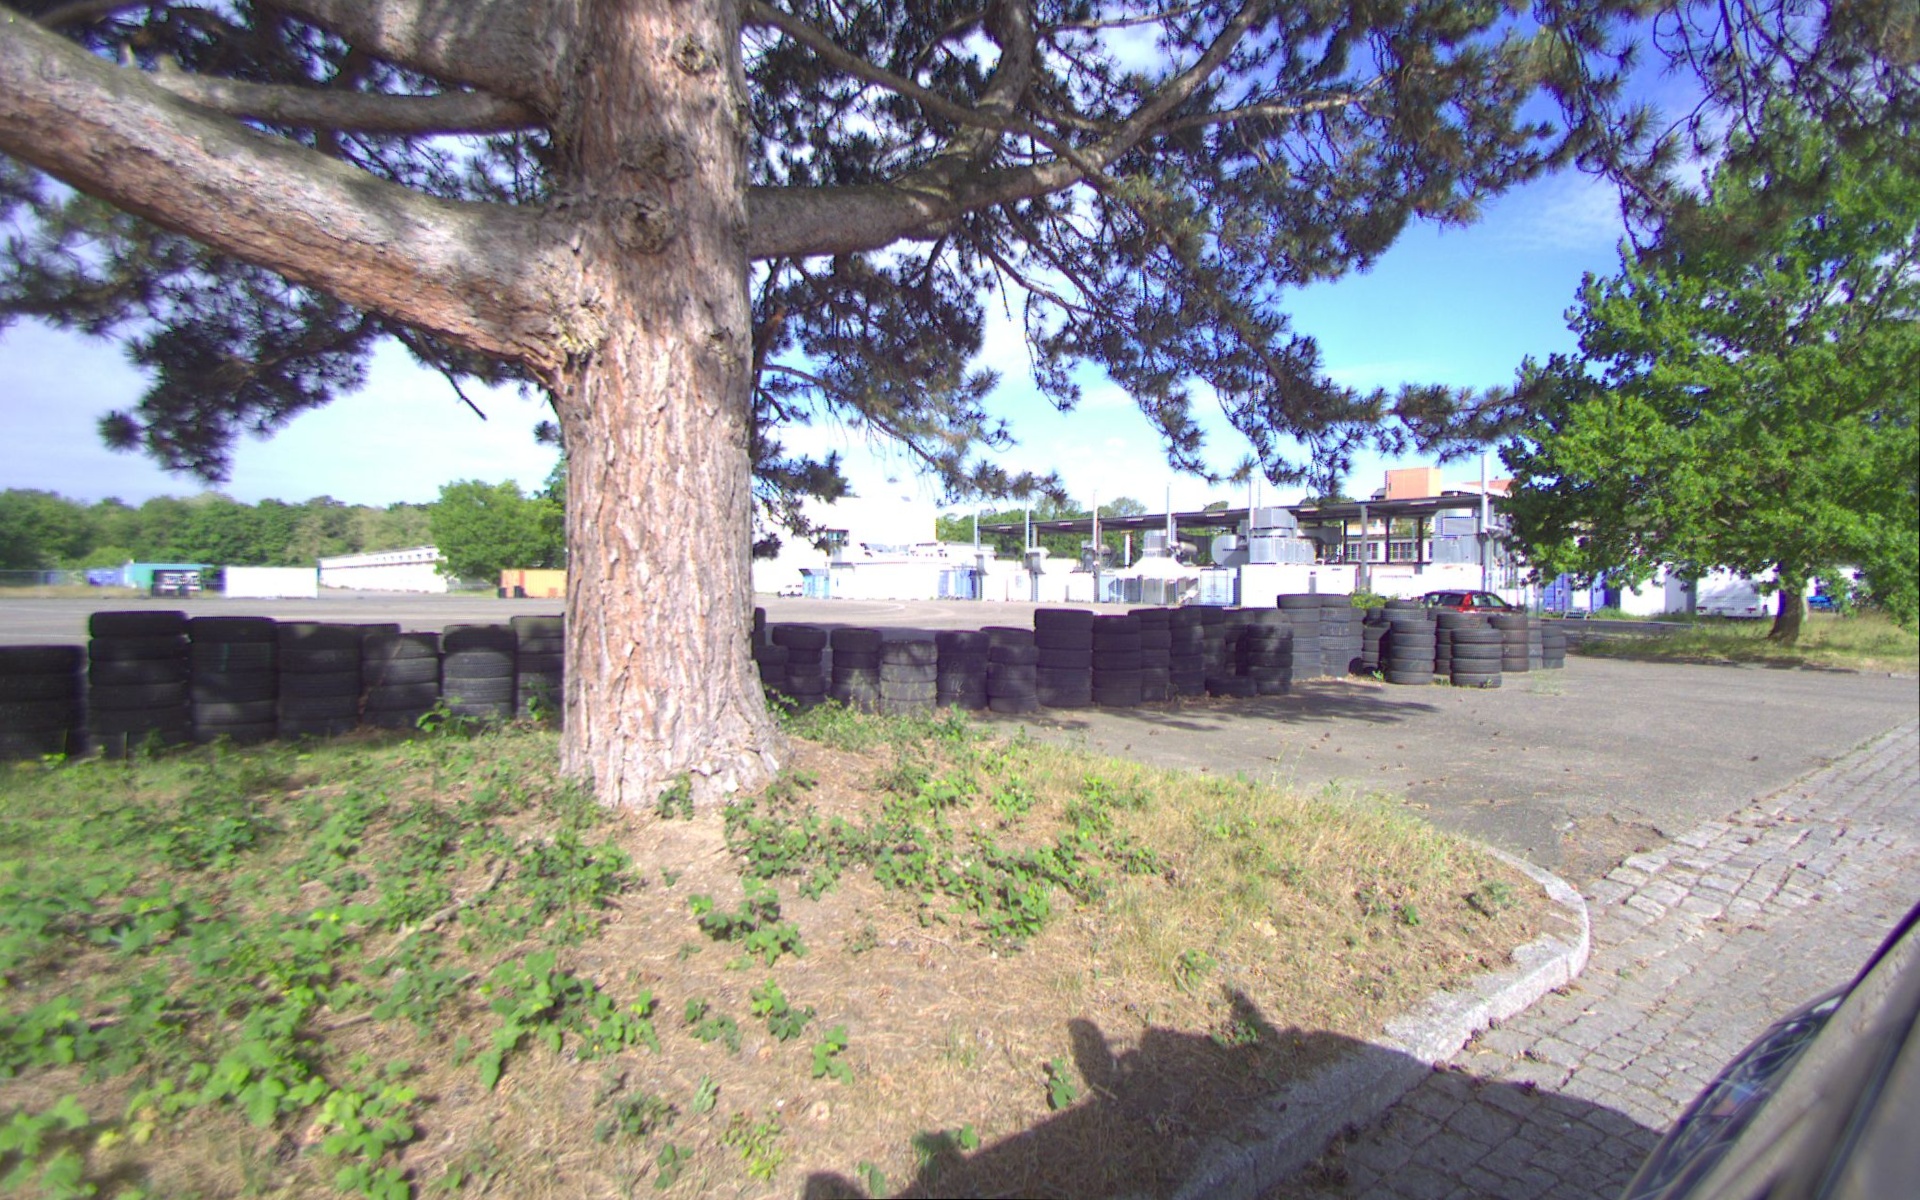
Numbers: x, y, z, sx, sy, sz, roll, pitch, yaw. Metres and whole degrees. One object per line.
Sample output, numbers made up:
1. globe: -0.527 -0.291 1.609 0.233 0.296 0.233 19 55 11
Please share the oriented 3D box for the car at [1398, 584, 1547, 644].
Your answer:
1. car: 13.521 0.305 26.657 3.923 1.467 1.849 -1 1 -34
